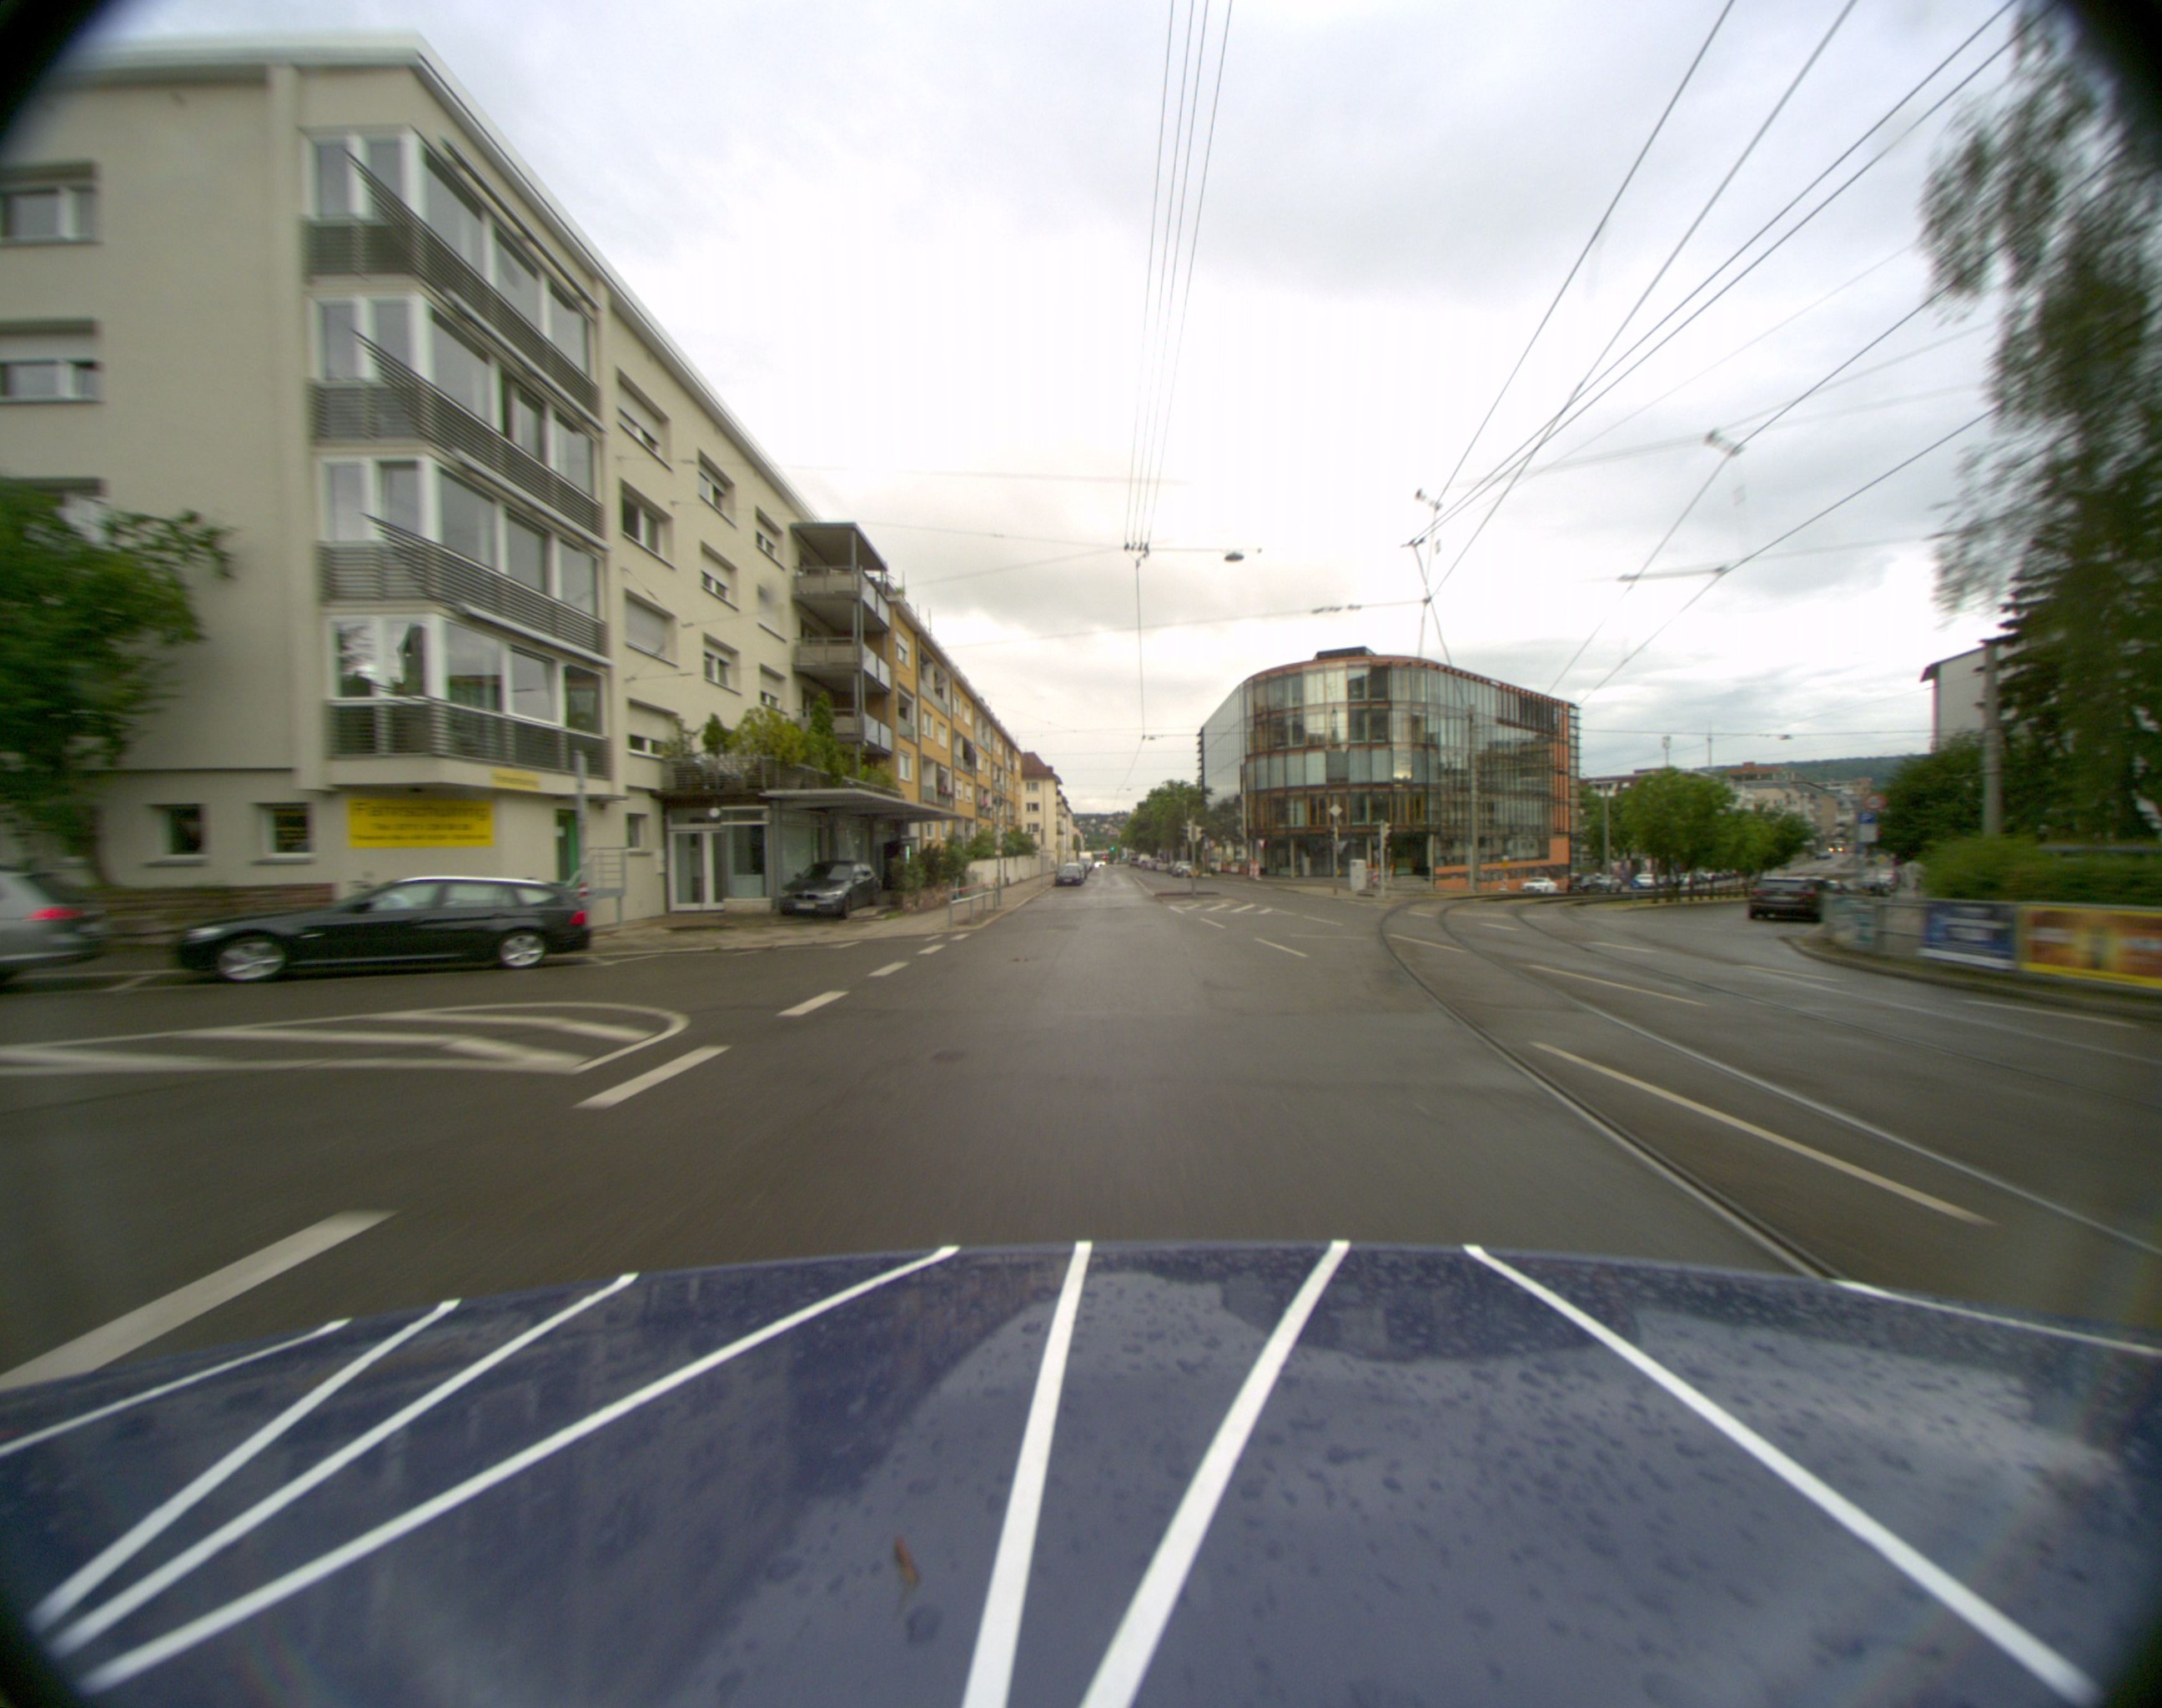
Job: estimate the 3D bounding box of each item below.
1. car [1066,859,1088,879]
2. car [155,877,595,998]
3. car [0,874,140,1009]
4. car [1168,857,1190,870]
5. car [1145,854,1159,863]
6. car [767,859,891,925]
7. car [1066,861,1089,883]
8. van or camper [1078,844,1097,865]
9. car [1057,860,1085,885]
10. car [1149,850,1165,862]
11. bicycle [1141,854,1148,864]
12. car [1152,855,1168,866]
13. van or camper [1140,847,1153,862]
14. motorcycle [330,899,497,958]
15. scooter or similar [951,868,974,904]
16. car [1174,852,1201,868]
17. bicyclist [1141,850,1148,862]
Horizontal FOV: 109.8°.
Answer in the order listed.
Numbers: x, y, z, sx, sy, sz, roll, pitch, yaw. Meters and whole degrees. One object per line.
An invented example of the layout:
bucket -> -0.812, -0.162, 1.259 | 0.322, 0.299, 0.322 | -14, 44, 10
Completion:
car -> -0.286, 1.231, 64.011 | 1.690, 1.445, 3.553 | -2, 1, 1
car -> -10.078, 1.112, 11.331 | 4.460, 1.448, 1.997 | 3, -4, -43
car -> -13.761, 0.917, 8.027 | 4.459, 1.448, 1.997 | 3, -2, -40
car -> 10.926, 1.055, 85.092 | 1.727, 1.455, 4.329 | 0, 0, -3
car -> 11.742, 0.748, 125.859 | 1.880, 1.456, 3.517 | -1, 1, -1
car -> -6.928, 0.967, 21.448 | 1.858, 1.494, 4.448 | 1, 2, 2
car -> -0.305, 1.324, 58.481 | 1.652, 1.451, 4.101 | -2, 1, 0
van or camper -> 1.049, 0.056, 121.616 | 2.753, 3.040, 7.030 | -2, 1, 2
car -> -0.634, 1.244, 52.742 | 1.734, 1.451, 4.477 | -2, 1, 1
car -> 11.486, 0.234, 114.684 | 1.880, 1.699, 3.999 | -1, 1, -1
bicycle -> 8.232, 0.648, 98.469 | 0.826, 1.142, 2.127 | -1, 1, 2
car -> 11.359, 0.963, 109.529 | 1.880, 1.390, 3.999 | -1, 1, -1
van or camper -> 12.179, 0.014, 141.121 | 2.143, 2.588, 5.550 | -2, 1, 3
motorcycle -> -12.043, 1.311, 13.803 | 2.219, 0.973, 0.550 | 3, -1, -41
scooter or similar -> -4.672, 1.250, 30.095 | 0.536, 1.319, 1.659 | 3, 1, 2
car -> 9.727, 0.542, 69.681 | 1.862, 1.386, 4.645 | -1, 0, 1
bicyclist -> 8.241, 0.227, 98.417 | 0.826, 1.453, 1.140 | -2, 2, 2
